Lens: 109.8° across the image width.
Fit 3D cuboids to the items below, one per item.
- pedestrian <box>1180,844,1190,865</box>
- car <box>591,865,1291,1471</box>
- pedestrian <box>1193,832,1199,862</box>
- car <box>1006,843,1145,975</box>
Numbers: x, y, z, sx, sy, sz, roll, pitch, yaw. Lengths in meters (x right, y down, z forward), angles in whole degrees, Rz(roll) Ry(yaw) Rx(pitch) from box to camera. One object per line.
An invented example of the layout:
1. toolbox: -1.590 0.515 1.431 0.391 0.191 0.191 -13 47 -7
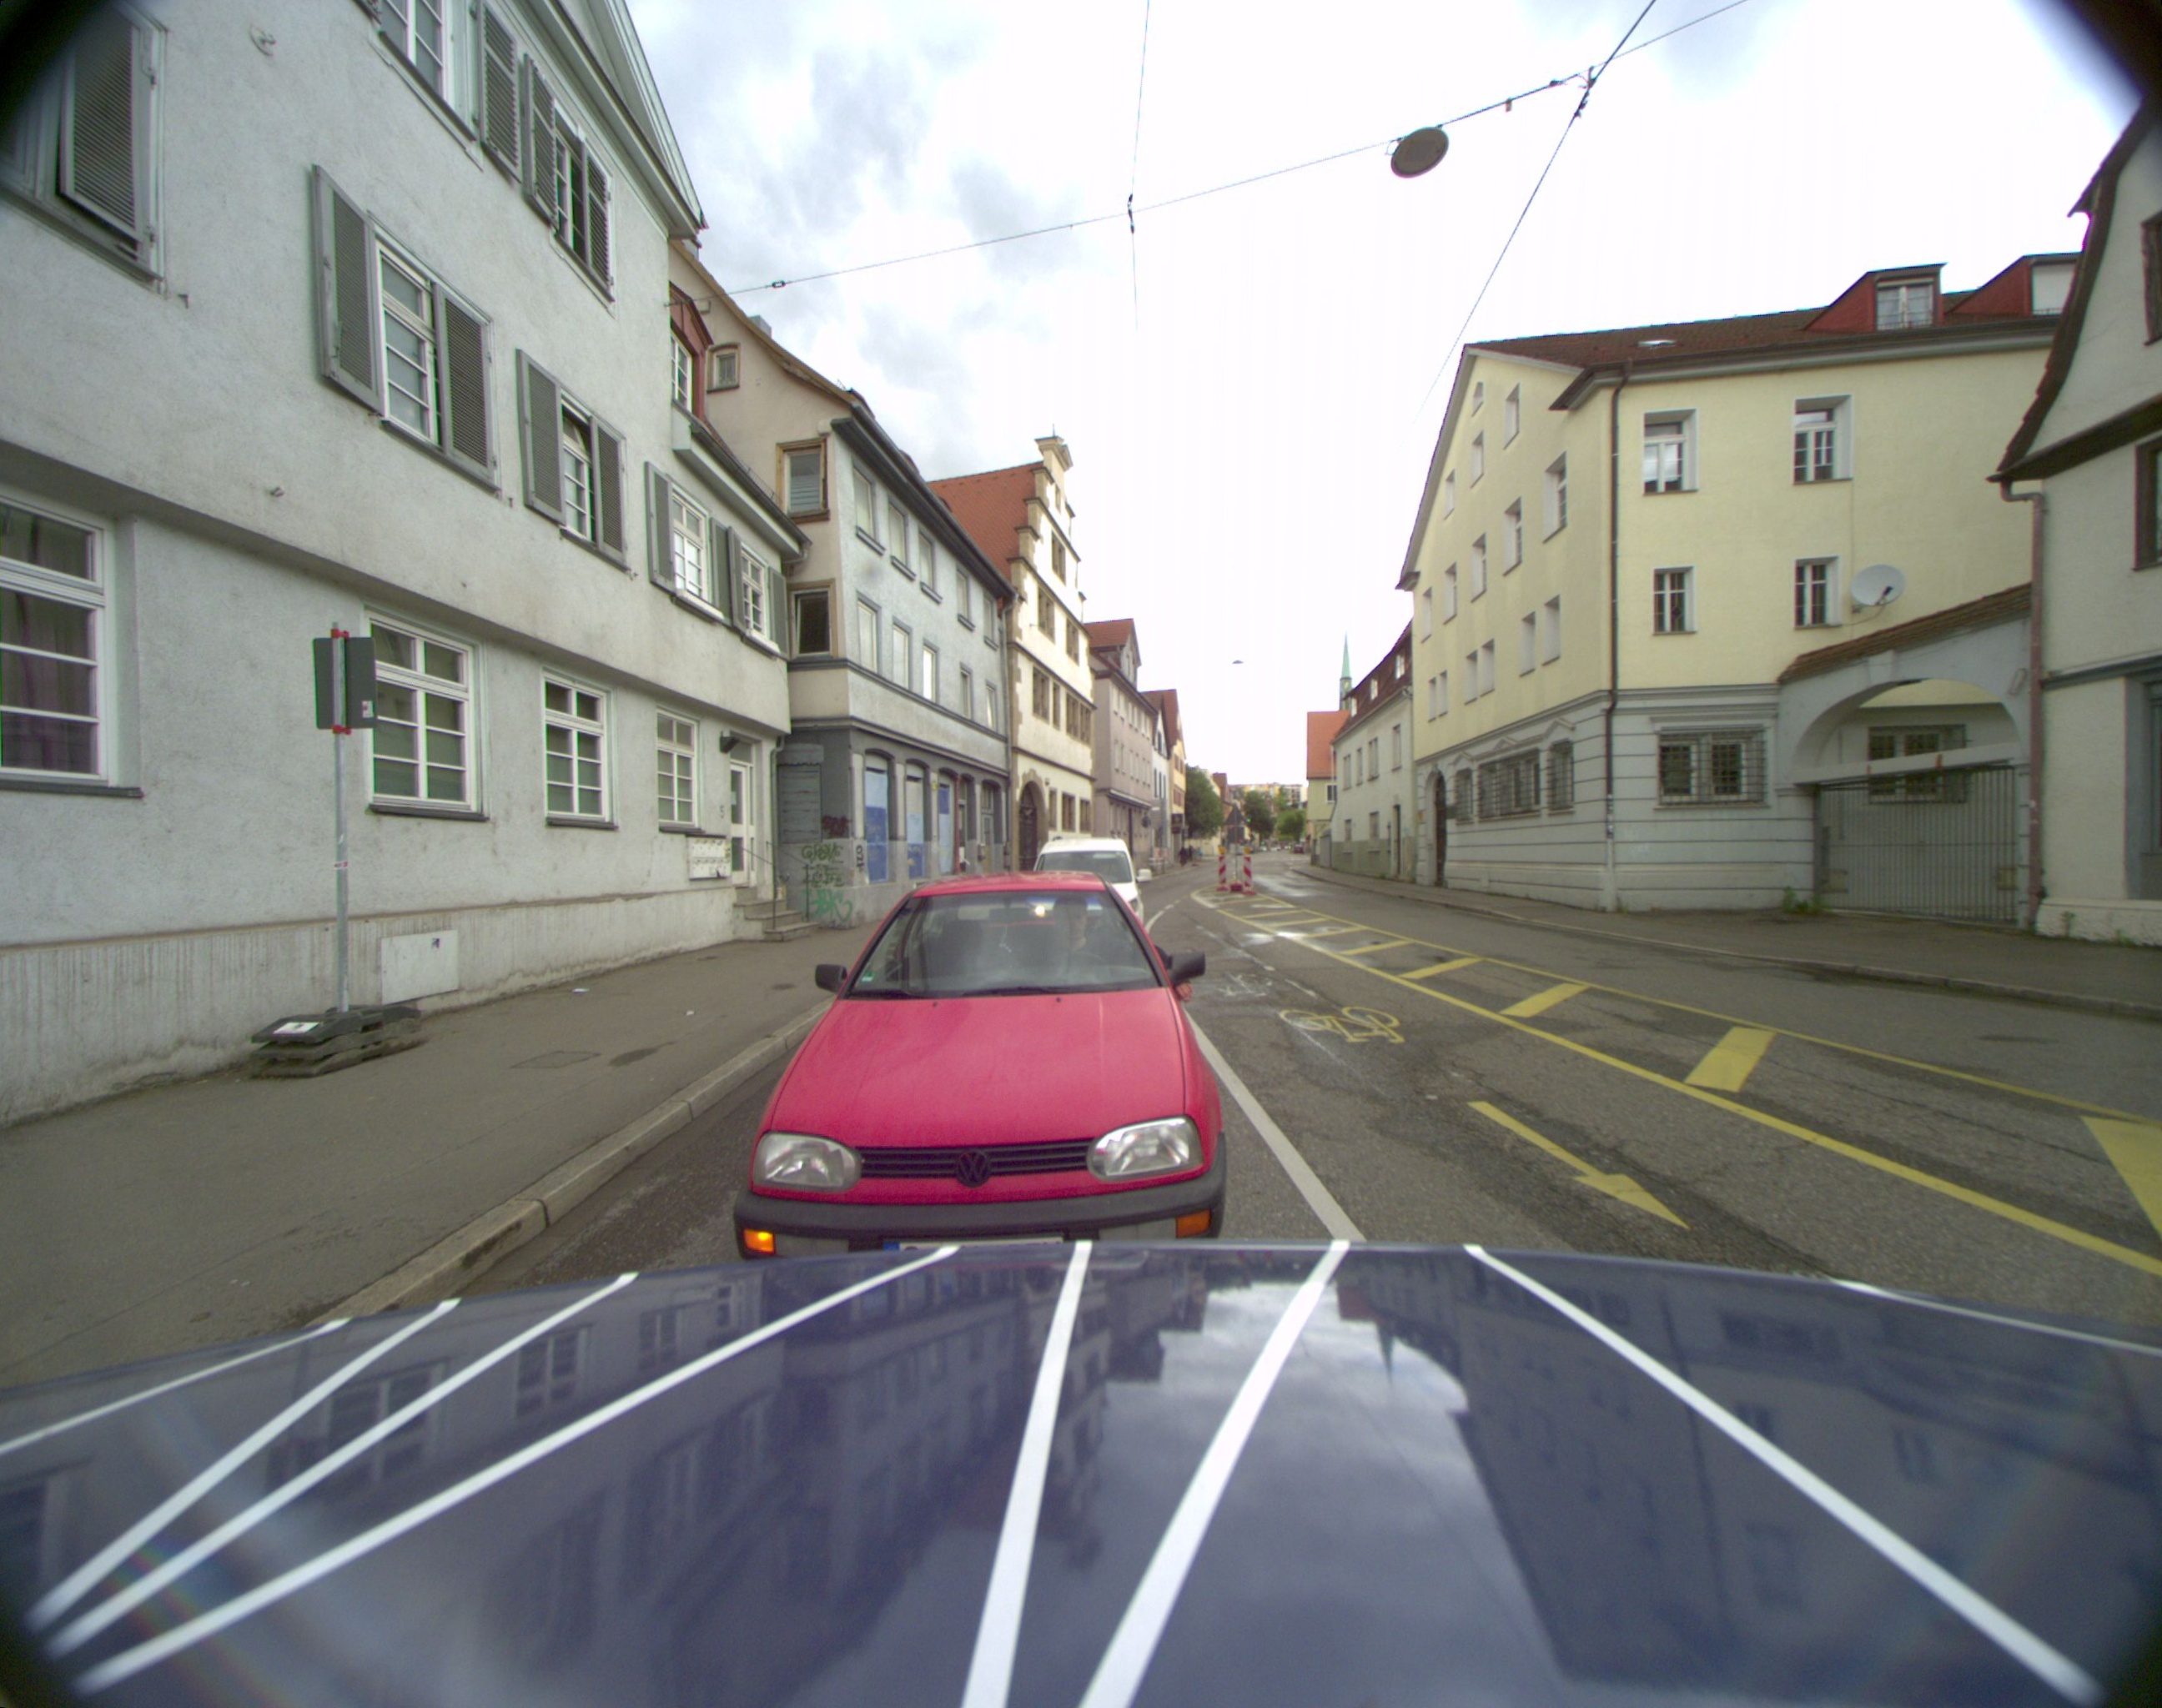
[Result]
1. pedestrian: 8.110 0.033 59.007 0.725 1.604 0.649 0 1 10
2. car: -0.286 0.868 3.981 1.792 1.417 3.999 -2 1 2
3. pedestrian: 9.633 -0.611 63.645 0.495 2.513 0.746 -1 1 12
4. car: 0.016 0.696 12.155 1.814 1.695 4.256 -1 1 2
